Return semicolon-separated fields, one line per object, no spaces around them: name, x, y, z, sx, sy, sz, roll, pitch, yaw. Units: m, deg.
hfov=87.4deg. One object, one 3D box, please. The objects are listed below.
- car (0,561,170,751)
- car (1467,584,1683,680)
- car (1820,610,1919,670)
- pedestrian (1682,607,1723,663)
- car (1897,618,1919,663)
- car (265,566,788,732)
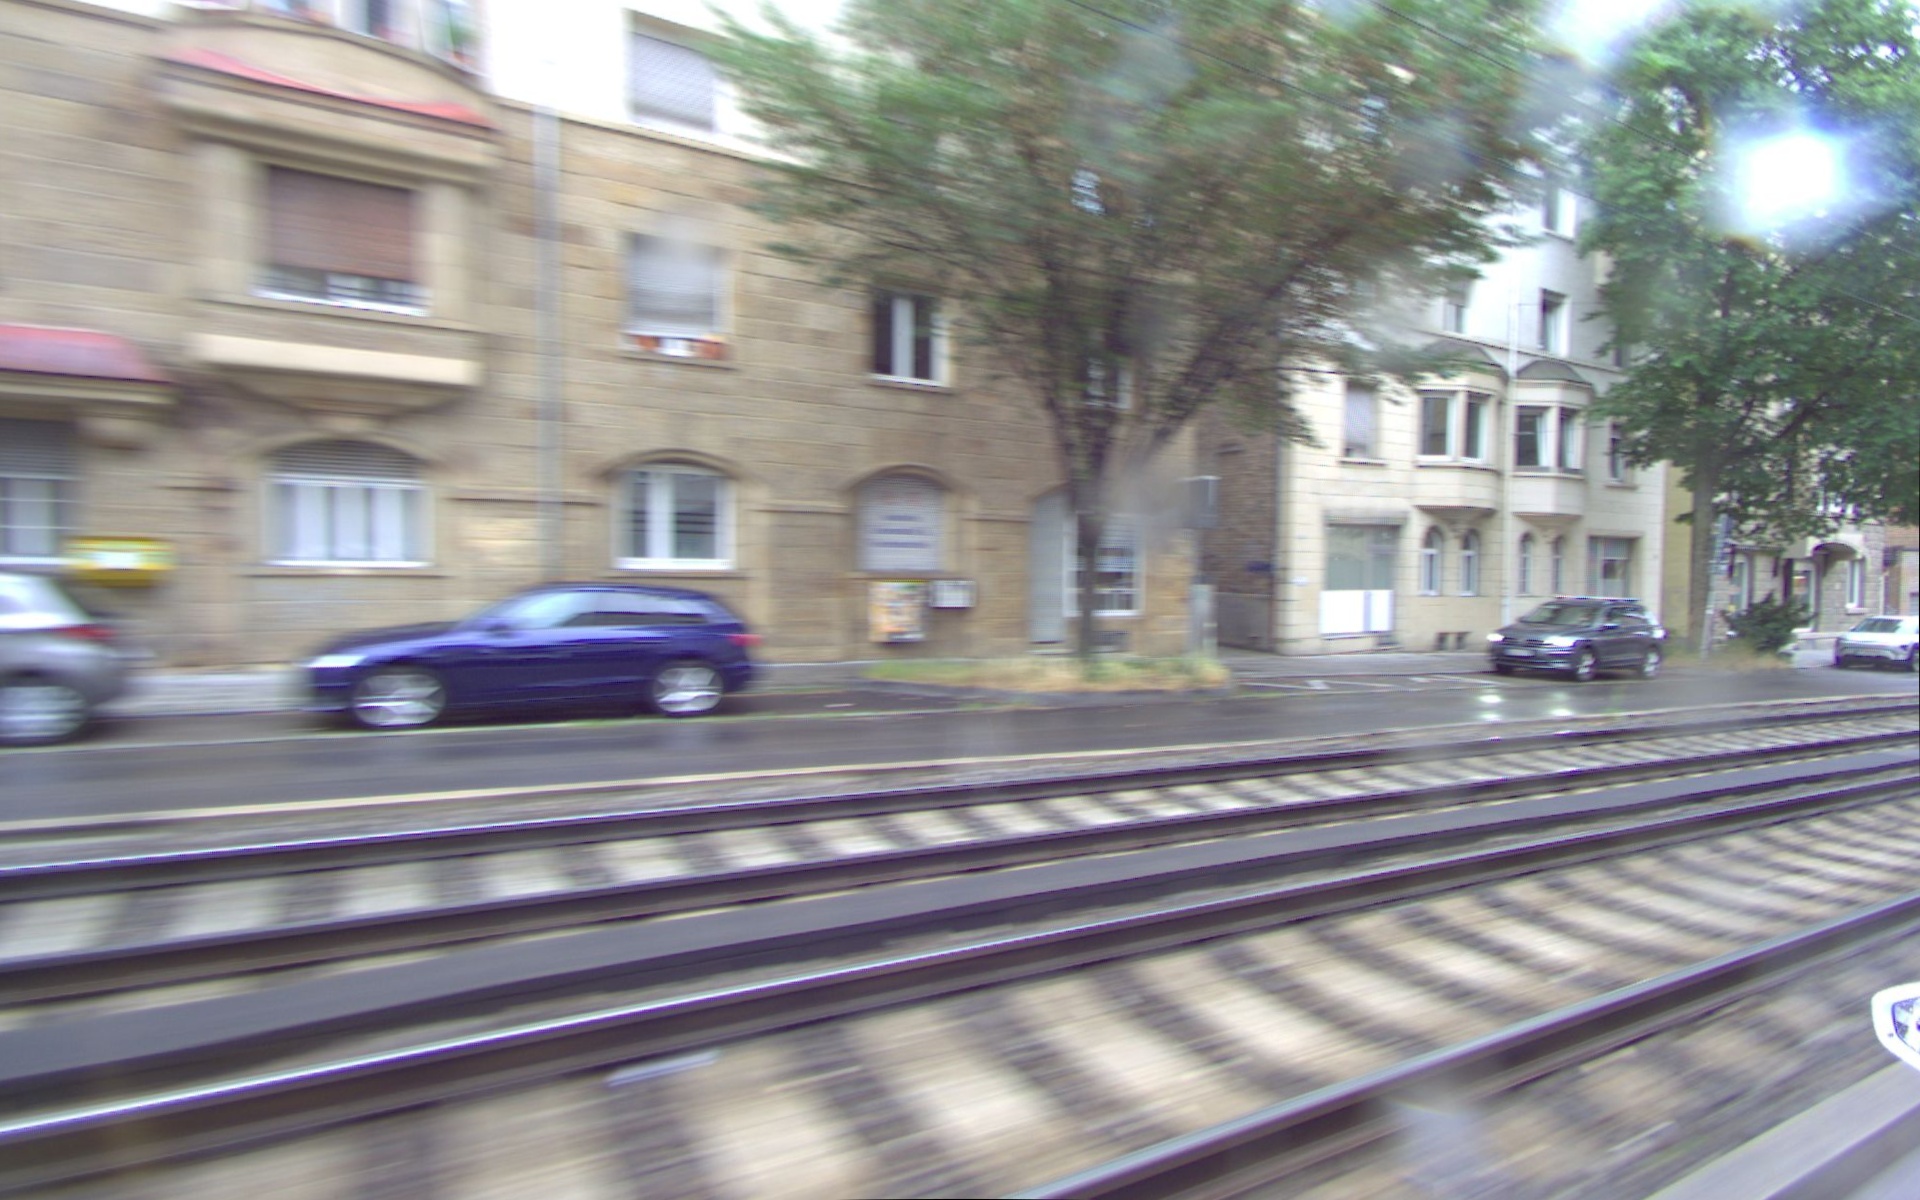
car;-9.300;0.412;8.289;4.129;1.549;1.681;2;0;-32
car;13.270;0.643;21.598;4.724;1.765;1.942;1;4;-31
car;27.990;1.174;30.220;4.279;1.627;1.951;1;1;-31
pedestrian;22.944;1.085;31.047;0.761;1.685;0.725;1;1;-30
car;32.323;1.338;32.707;3.644;1.434;1.658;1;1;-30
car;-4.537;0.510;11.019;4.923;1.479;1.771;2;0;-32
